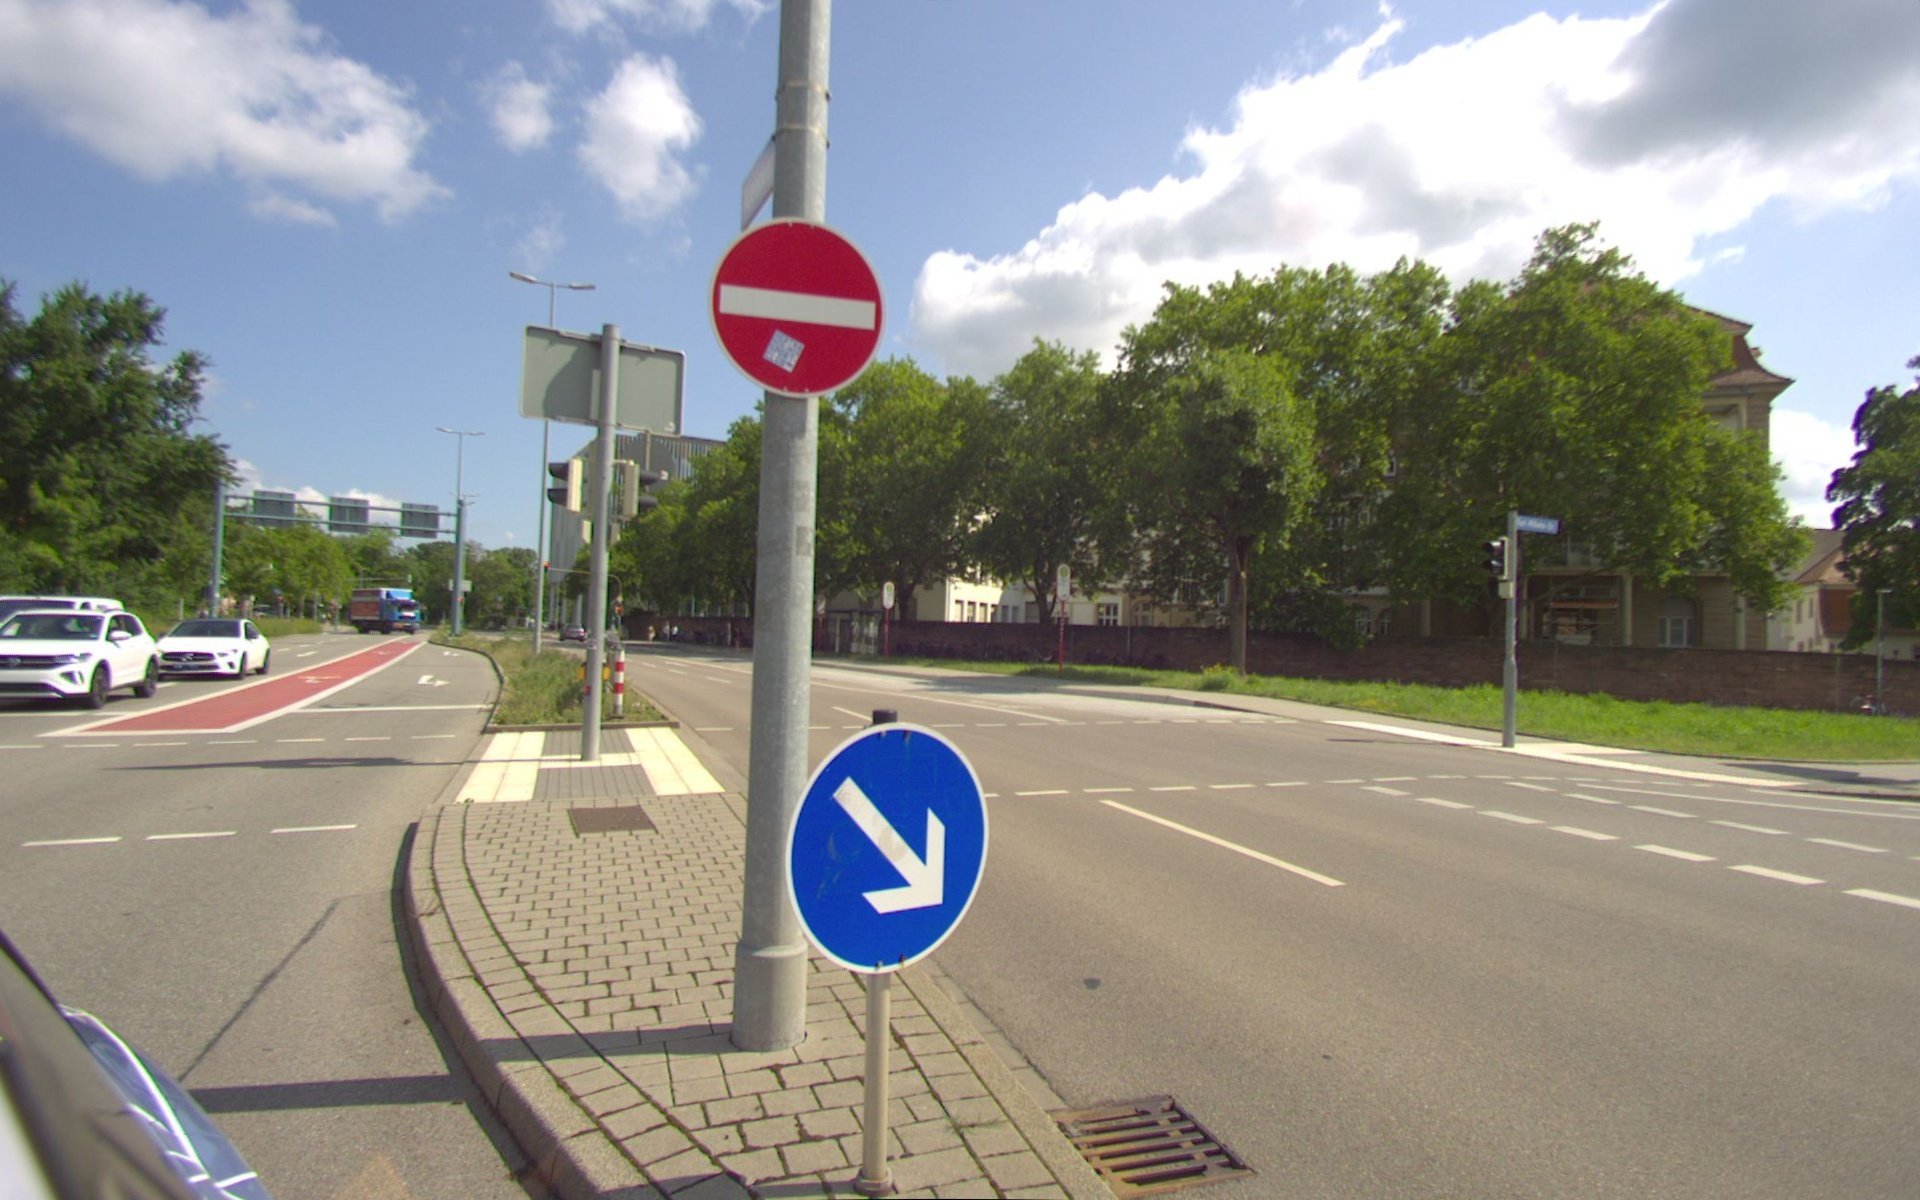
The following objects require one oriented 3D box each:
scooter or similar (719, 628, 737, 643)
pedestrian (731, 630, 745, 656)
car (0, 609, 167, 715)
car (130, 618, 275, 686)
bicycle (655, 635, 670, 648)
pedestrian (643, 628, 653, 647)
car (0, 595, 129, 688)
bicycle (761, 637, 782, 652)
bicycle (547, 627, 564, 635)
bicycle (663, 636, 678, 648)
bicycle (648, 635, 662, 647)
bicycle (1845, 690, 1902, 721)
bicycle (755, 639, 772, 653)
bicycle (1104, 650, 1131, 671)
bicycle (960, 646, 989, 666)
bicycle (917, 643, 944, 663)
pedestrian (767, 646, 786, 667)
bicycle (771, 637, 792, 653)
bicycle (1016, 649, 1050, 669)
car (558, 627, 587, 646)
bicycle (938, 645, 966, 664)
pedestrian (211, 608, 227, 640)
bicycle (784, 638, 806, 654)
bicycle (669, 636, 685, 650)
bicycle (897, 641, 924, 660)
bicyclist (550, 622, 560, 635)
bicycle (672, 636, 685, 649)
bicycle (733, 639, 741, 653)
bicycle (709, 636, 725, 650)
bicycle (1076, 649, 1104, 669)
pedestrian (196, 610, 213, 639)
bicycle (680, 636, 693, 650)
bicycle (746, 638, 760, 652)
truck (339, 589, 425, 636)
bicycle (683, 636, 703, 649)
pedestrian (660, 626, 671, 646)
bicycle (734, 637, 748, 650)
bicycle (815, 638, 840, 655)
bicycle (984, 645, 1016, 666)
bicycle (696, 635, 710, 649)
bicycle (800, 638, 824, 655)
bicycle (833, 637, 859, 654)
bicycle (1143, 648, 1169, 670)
[{"bbox_3d":[-17.782,2.707,77.527,0.572,1.056,1.885,4,-3,-36],"label":"scooter or similar"},{"bbox_3d":[-14.321,2.766,65.246,0.647,1.622,0.747,2,-2,-25],"label":"pedestrian"},{"bbox_3d":[-14.687,0.952,16.590,1.765,1.551,4.024,1,-2,-25],"label":"car"},{"bbox_3d":[-18.065,1.220,24.360,1.877,1.435,4.399,3,-3,-25],"label":"car"},{"bbox_3d":[-26.404,3.676,89.746,0.621,1.056,1.885,4,-3,-36],"label":"bicycle"},{"bbox_3d":[-27.184,3.253,88.205,0.552,1.664,0.729,3,-3,-32],"label":"pedestrian"},{"bbox_3d":[-20.749,0.897,22.806,1.915,1.884,4.841,3,-3,-25],"label":"car"},{"bbox_3d":[-13.388,3.151,71.795,0.575,1.081,1.758,4,-3,-42],"label":"bicycle"},{"bbox_3d":[-48.038,3.680,120.194,1.753,0.899,0.637,1,-3,5],"label":"bicycle"},{"bbox_3d":[-25.221,3.640,88.098,0.556,1.056,1.885,4,-3,-36],"label":"bicycle"},{"bbox_3d":[-27.645,3.720,91.694,0.621,1.056,1.885,4,-3,-36],"label":"bicycle"},{"bbox_3d":[33.042,3.821,36.608,1.509,0.999,0.392,2,-2,16],"label":"bicycle"},{"bbox_3d":[-14.174,3.298,73.083,0.365,0.962,1.629,4,-3,-42],"label":"bicycle"},{"bbox_3d":[7.989,3.071,51.262,1.370,1.019,0.386,-1,-4,43],"label":"bicycle"},{"bbox_3d":[0.805,3.183,57.334,1.631,1.081,0.576,-1,-3,42],"label":"bicycle"},{"bbox_3d":[-1.716,3.117,59.603,1.631,1.081,0.576,-1,-3,42],"label":"bicycle"},{"bbox_3d":[-9.094,2.798,50.076,0.684,0.970,0.745,2,-3,-28],"label":"pedestrian"},{"bbox_3d":[-12.481,3.165,70.653,0.575,1.081,1.758,4,-3,-42],"label":"bicycle"},{"bbox_3d":[3.953,3.170,54.698,1.964,1.019,0.465,-1,-3,43],"label":"bicycle"},{"bbox_3d":[-31.401,2.922,81.907,1.676,1.456,4.159,4,-3,-27],"label":"car"},{"bbox_3d":[-0.473,3.137,58.448,1.631,1.081,0.576,-1,-3,42],"label":"bicycle"},{"bbox_3d":[-43.107,1.382,58.860,0.559,1.815,0.641,3,-3,-26],"label":"pedestrian"},{"bbox_3d":[-11.275,3.152,69.278,0.575,1.081,1.757,4,-3,-43],"label":"bicycle"},{"bbox_3d":[-23.449,3.561,83.852,0.584,1.056,1.885,4,-3,-36],"label":"bicycle"},{"bbox_3d":[-2.977,3.040,60.762,1.631,1.081,0.576,-1,-3,42],"label":"bicycle"},{"bbox_3d":[-48.107,3.353,120.216,0.935,1.475,0.631,1,-3,5],"label":"bicyclist"},{"bbox_3d":[-23.854,3.624,85.719,0.365,1.056,1.885,4,-3,-36],"label":"bicycle"},{"bbox_3d":[-16.471,3.394,74.816,0.361,0.962,1.629,2,-3,-18],"label":"bicycle"},{"bbox_3d":[-18.981,3.323,79.020,0.572,1.056,1.885,4,-3,-36],"label":"bicycle"},{"bbox_3d":[6.722,3.055,52.418,1.456,1.019,0.465,-1,-4,43],"label":"bicycle"},{"bbox_3d":[-43.646,1.420,58.469,0.614,1.593,0.710,3,-3,-26],"label":"pedestrian"},{"bbox_3d":[-22.665,3.569,83.906,0.365,1.056,1.885,4,-3,-36],"label":"bicycle"},{"bbox_3d":[-15.236,3.287,74.431,0.362,0.962,1.404,4,-3,-42],"label":"bicycle"},{"bbox_3d":[-50.277,1.045,87.947,9.168,3.828,2.634,0,-3,35],"label":"truck"},{"bbox_3d":[-21.645,3.435,81.995,1.879,1.056,0.586,0,-3,39],"label":"bicycle"},{"bbox_3d":[-24.524,3.004,84.339,0.632,1.664,0.733,3,-3,-32],"label":"pedestrian"},{"bbox_3d":[-16.516,3.259,76.254,0.362,0.962,1.404,4,-3,-42],"label":"bicycle"},{"bbox_3d":[-8.701,3.062,66.272,1.755,1.081,0.576,-1,-3,42],"label":"bicycle"},{"bbox_3d":[2.211,3.078,56.093,0.575,1.081,1.872,4,-3,-43],"label":"bicycle"},{"bbox_3d":[-20.439,3.352,80.488,0.388,1.056,1.885,4,-3,-36],"label":"bicycle"},{"bbox_3d":[-9.941,3.127,67.831,1.755,1.081,0.576,-1,-3,42],"label":"bicycle"},{"bbox_3d":[-7.315,2.922,64.941,1.755,1.081,0.576,-1,-3,42],"label":"bicycle"},{"bbox_3d":[9.696,2.913,50.170,1.255,1.019,0.348,-1,-4,43],"label":"bicycle"}]
